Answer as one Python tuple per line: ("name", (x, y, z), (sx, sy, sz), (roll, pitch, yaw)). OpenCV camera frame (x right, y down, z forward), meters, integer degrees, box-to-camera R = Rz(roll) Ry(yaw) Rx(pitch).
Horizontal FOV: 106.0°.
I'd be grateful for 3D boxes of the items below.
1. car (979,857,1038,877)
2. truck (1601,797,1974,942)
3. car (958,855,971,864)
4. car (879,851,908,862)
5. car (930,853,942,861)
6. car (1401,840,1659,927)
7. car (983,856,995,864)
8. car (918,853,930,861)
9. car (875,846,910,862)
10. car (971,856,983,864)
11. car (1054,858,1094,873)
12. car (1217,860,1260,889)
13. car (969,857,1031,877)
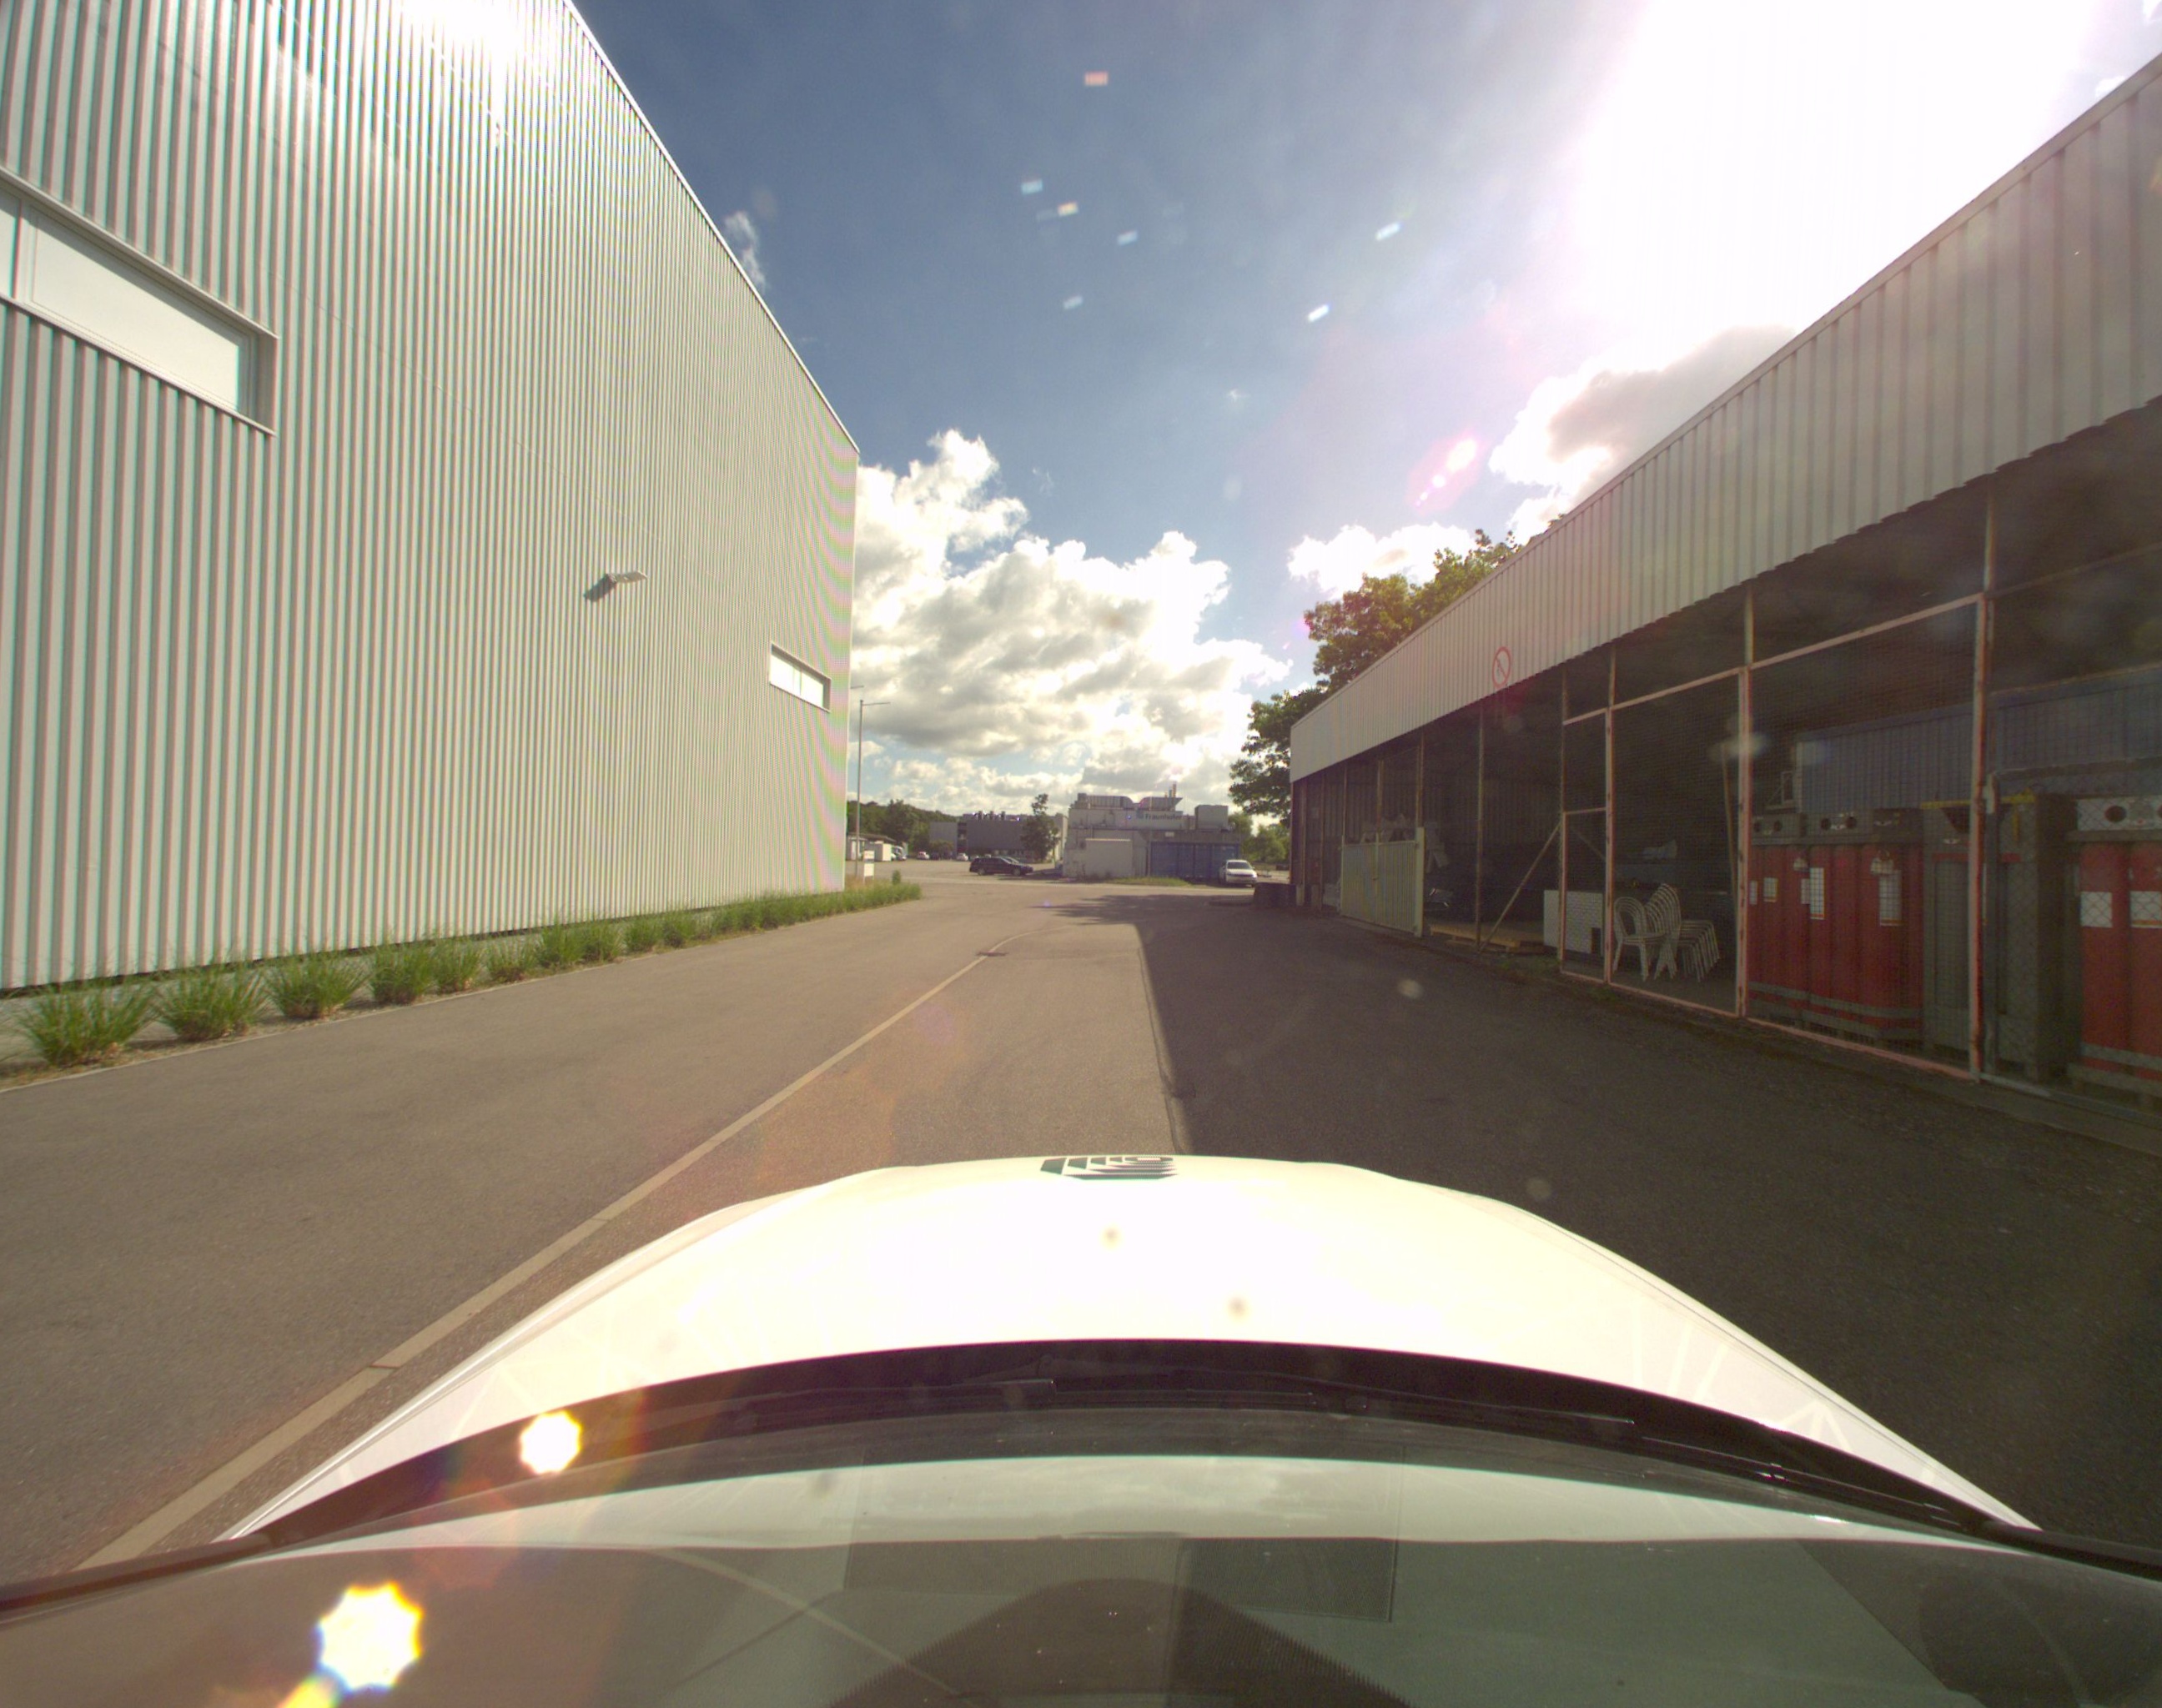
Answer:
("car", (-5.929, 1.070, 66.909), (4.511, 1.443, 1.905), (1, -2, 2))
("truck", (14.168, 0.291, 16.667), (5.544, 2.706, 2.367), (1, -1, 2))
("car", (-23.108, 1.082, 161.263), (1.871, 1.689, 4.035), (0, -1, 0))
("car", (-31.057, 0.426, 134.912), (4.089, 1.630, 1.811), (2, -1, 6))
("car", (-28.666, 0.638, 161.202), (1.873, 1.537, 4.032), (0, -1, -2))
("car", (10.866, 0.700, 19.999), (5.153, 1.918, 2.276), (1, -1, -3))
("car", (-18.230, 1.128, 161.176), (1.871, 1.537, 4.035), (0, -1, 0))
("car", (-31.104, 0.589, 161.399), (1.842, 1.668, 4.129), (0, -1, -2))
("car", (-31.888, -0.019, 137.889), (5.231, 2.442, 2.053), (2, -1, 6))
("car", (-20.559, 1.140, 161.029), (1.871, 1.537, 4.035), (0, -1, 0))
("car", (-0.749, 1.316, 91.254), (4.262, 1.569, 1.988), (1, -2, 2))
("car", (9.722, 1.223, 50.528), (1.973, 1.593, 4.343), (2, 1, 2))
("car", (-6.315, 1.040, 63.659), (4.511, 1.443, 1.988), (1, -2, 2))
